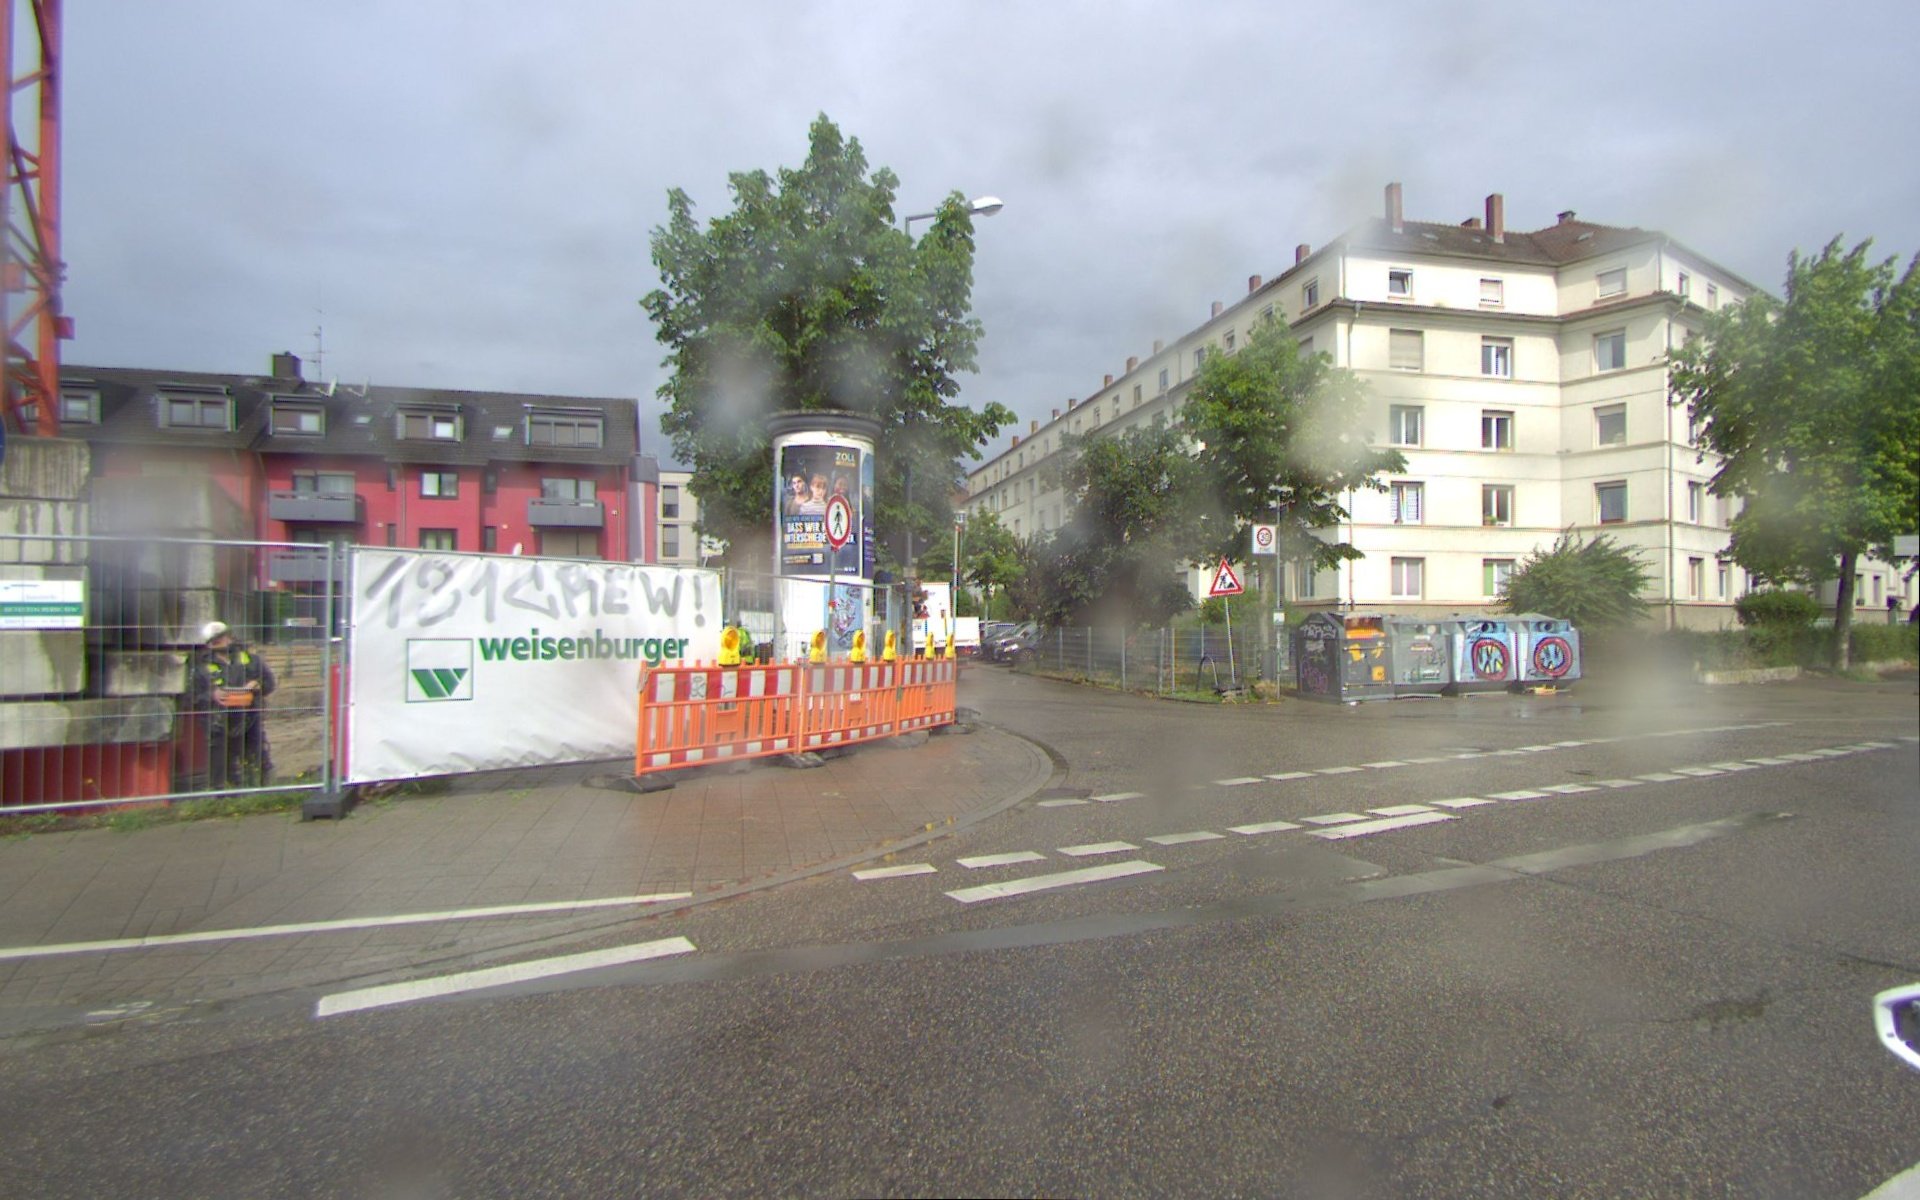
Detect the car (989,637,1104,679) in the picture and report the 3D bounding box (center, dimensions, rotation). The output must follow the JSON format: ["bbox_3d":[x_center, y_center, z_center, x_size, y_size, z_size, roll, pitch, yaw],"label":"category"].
[{"bbox_3d":[3.302,2.208,38.639,4.050,1.461,1.701,-1,-2,-11],"label":"car"}]

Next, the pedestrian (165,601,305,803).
[{"bbox_3d":[-6.283,0.846,8.726,0.709,1.651,0.684,2,0,21],"label":"pedestrian"}]

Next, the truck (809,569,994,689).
[{"bbox_3d":[-2.265,0.952,32.322,3.731,3.226,9.810,0,-2,-17],"label":"truck"}]

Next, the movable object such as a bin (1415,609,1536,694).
[{"bbox_3d":[10.831,1.068,21.170,1.636,1.696,1.539,-1,-1,-12],"label":"movable object such as a bin"}]

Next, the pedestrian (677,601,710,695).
[{"bbox_3d":[-4.731,0.845,17.826,0.541,1.641,0.619,0,-2,-16],"label":"pedestrian"}]

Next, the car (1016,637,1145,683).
[{"bbox_3d":[4.103,2.031,34.355,4.050,1.461,1.701,-1,-2,-11],"label":"car"}]

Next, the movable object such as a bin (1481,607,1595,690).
[{"bbox_3d":[12.359,1.026,21.532,1.433,1.684,1.539,-1,-1,-12],"label":"movable object such as a bin"}]

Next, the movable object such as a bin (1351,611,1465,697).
[{"bbox_3d":[9.250,1.087,20.811,1.501,1.678,1.539,-1,-1,-12],"label":"movable object such as a bin"}]

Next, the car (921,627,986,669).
[{"bbox_3d":[-0.307,1.907,40.191,1.639,1.606,3.495,0,-2,-18],"label":"car"}]

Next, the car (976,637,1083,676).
[{"bbox_3d":[2.830,2.308,41.111,4.050,1.461,1.701,-1,-2,-11],"label":"car"}]

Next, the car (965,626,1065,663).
[{"bbox_3d":[2.386,1.932,43.794,4.050,1.461,1.701,-1,-2,-11],"label":"car"}]

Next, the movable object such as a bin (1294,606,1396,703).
[{"bbox_3d":[7.747,1.077,20.298,1.241,1.848,1.539,-1,-1,-12],"label":"movable object such as a bin"}]
